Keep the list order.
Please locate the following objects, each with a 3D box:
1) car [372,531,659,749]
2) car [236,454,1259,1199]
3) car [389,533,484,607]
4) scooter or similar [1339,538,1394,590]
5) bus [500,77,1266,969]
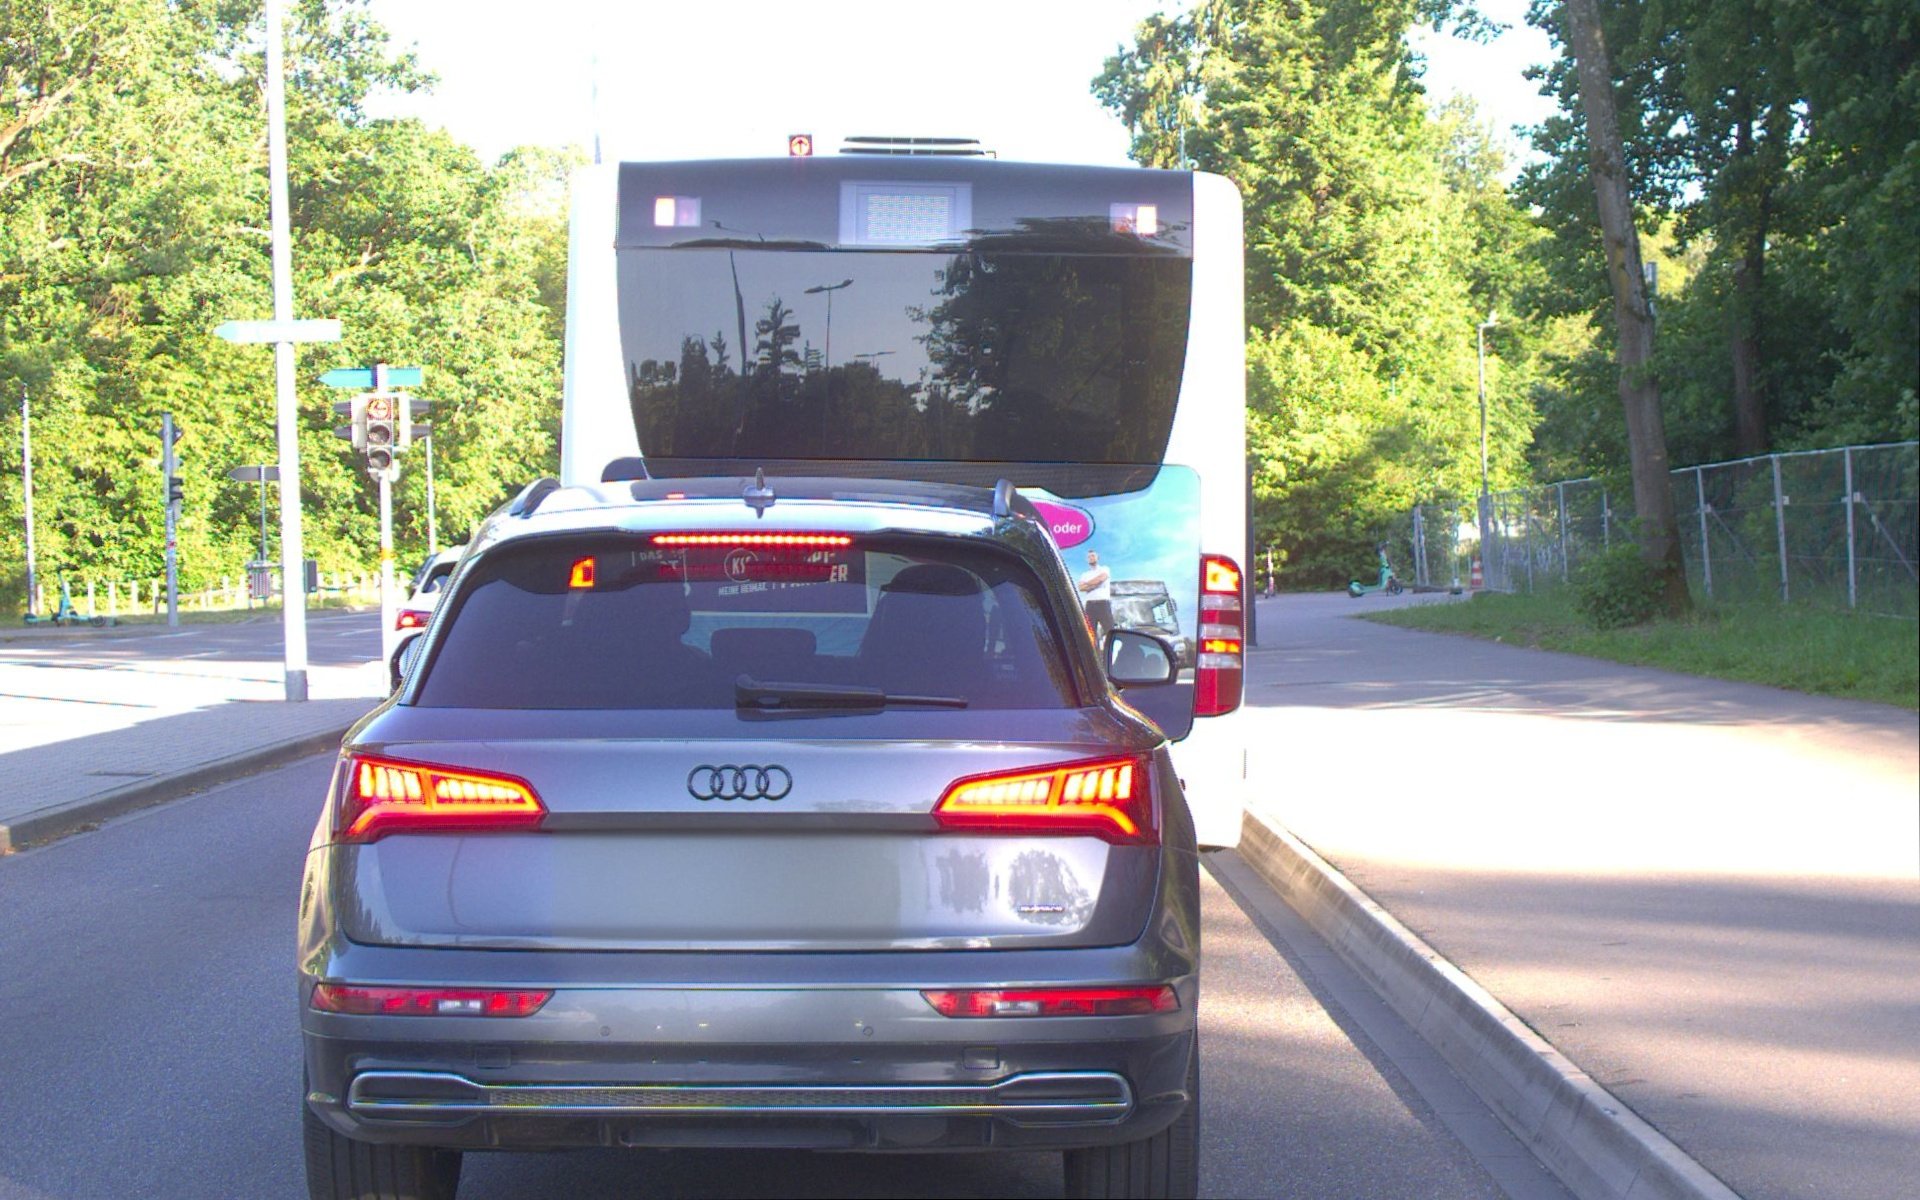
[{"bbox_3d":[-3.477,0.257,27.541,1.808,1.567,4.000,1,2,-1],"label":"car"},{"bbox_3d":[-0.418,0.517,8.344,1.868,1.658,4.000,1,2,-1],"label":"car"},{"bbox_3d":[-12.320,-0.722,81.061,1.993,1.656,4.001,-2,1,-6],"label":"car"},{"bbox_3d":[9.227,-0.822,77.999,1.184,1.170,0.659,1,1,11],"label":"scooter or similar"},{"bbox_3d":[-0.247,-0.351,15.148,2.678,3.131,5.882,1,2,1],"label":"bus"}]
